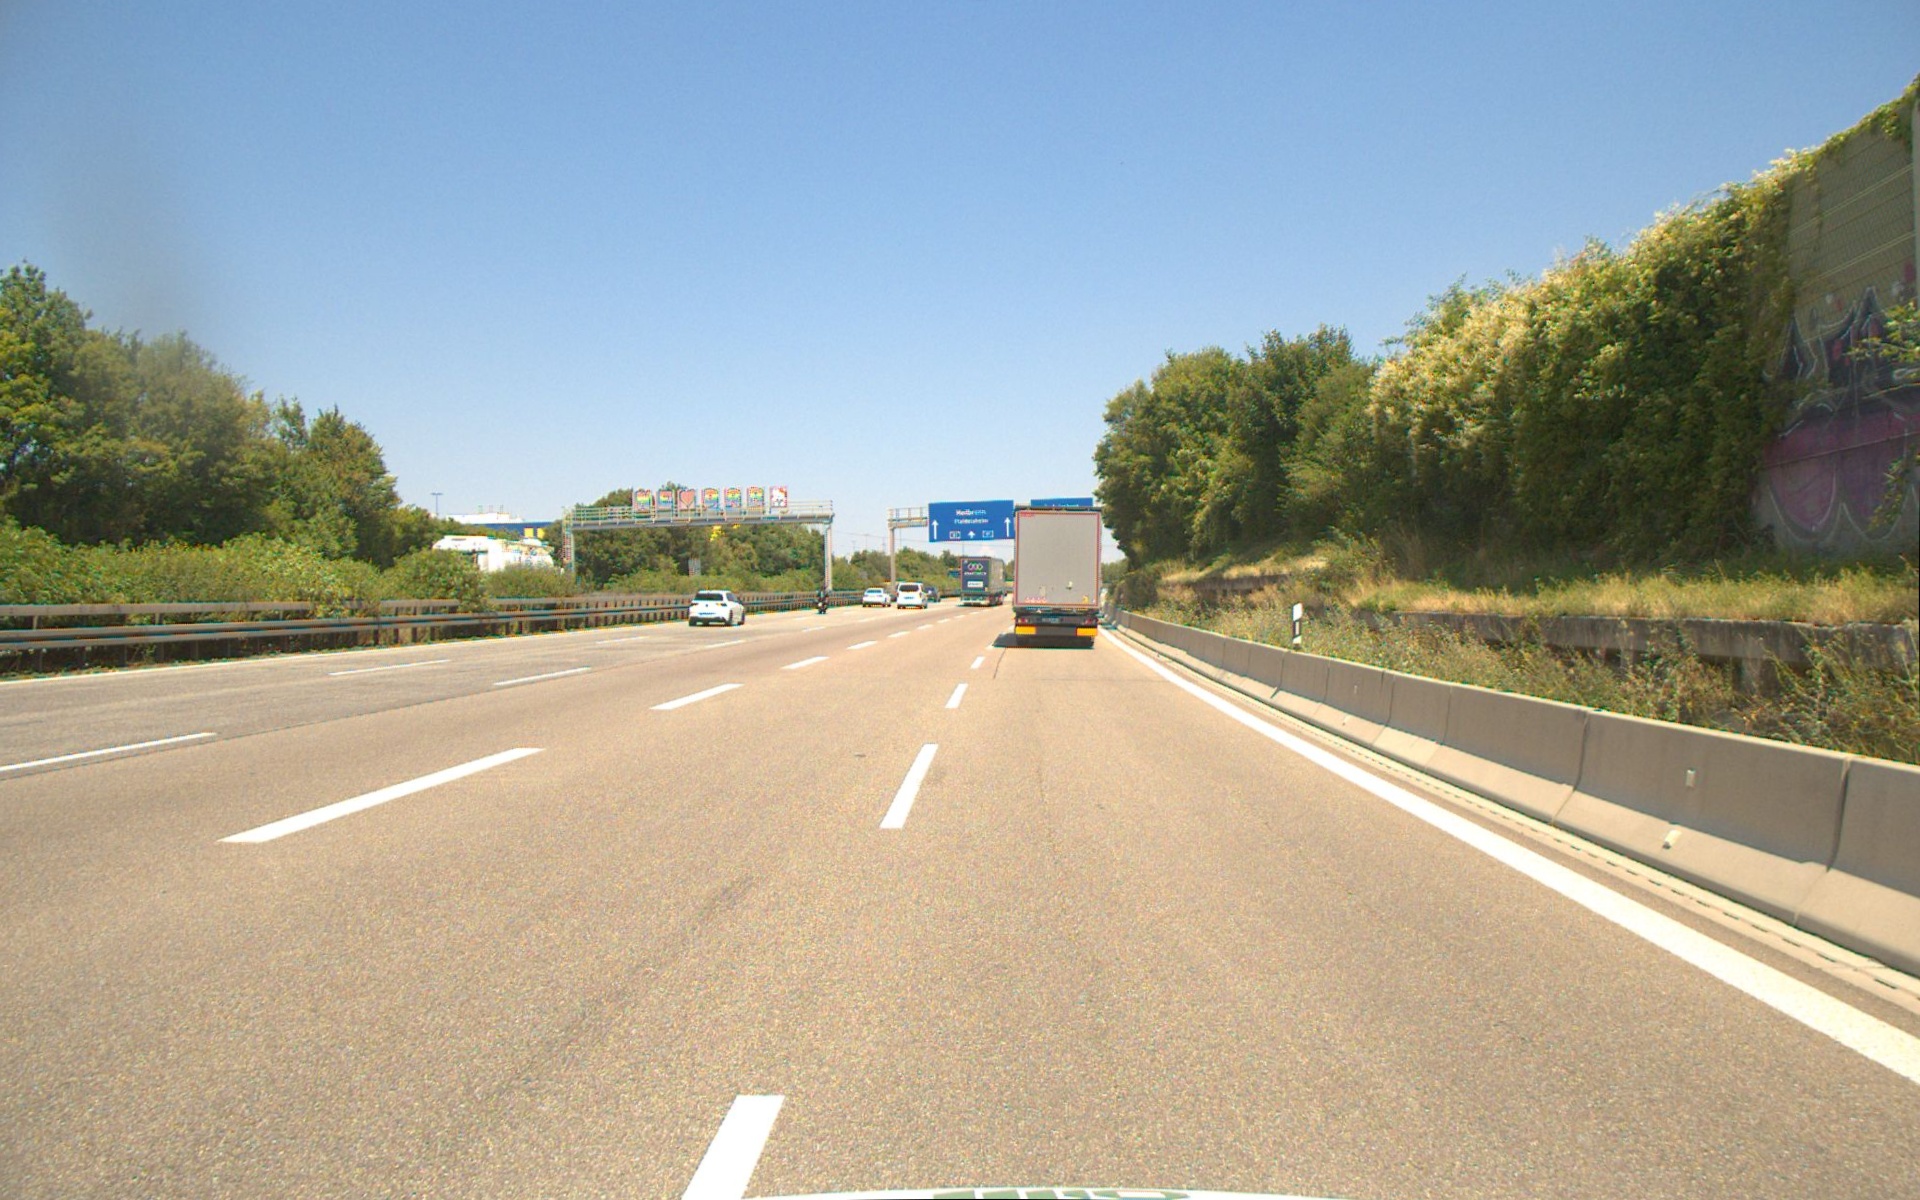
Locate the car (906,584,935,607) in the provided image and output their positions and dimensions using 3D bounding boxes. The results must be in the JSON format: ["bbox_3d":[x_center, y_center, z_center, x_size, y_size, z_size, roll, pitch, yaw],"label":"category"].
[{"bbox_3d":[-3.278,-0.348,137.898,1.837,1.838,5.128,0,-1,4],"label":"car"}]

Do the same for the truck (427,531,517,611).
[{"bbox_3d":[-25.069,-1.492,85.251,2.639,3.957,5.748,1,0,3],"label":"truck"}]

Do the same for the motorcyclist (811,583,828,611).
[{"bbox_3d":[-8.315,-0.177,97.894,0.875,1.625,1.299,0,-1,-2],"label":"motorcyclist"}]

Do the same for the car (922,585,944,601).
[{"bbox_3d":[-2.584,-0.691,161.309,1.720,1.433,5.042,-1,0,4],"label":"car"}]

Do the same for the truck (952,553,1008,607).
[{"bbox_3d":[1.825,-1.711,142.186,3.668,4.345,14.505,1,1,5],"label":"truck"}]

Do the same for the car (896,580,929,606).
[{"bbox_3d":[-3.453,-0.493,121.352,1.890,1.884,4.695,-1,0,4],"label":"car"}]

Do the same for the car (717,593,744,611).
[{"bbox_3d":[-23.266,0.196,167.952,1.865,1.747,4.632,-1,-2,3],"label":"car"}]

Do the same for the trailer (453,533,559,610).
[{"bbox_3d":[-24.787,-1.538,90.851,2.633,3.957,9.738,1,0,3],"label":"trailer"}]

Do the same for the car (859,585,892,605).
[{"bbox_3d":[-6.476,-0.369,127.361,1.837,1.466,5.128,0,-1,5],"label":"car"}]

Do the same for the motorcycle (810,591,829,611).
[{"bbox_3d":[-8.310,0.071,97.893,0.894,1.108,2.849,0,-1,-1],"label":"motorcycle"}]

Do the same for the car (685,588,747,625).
[{"bbox_3d":[-10.148,0.253,69.081,1.745,1.466,4.670,0,0,2],"label":"car"}]

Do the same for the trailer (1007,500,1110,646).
[{"bbox_3d":[3.057,-0.842,52.788,2.867,4.085,12.043,-1,1,3],"label":"trailer"}]
